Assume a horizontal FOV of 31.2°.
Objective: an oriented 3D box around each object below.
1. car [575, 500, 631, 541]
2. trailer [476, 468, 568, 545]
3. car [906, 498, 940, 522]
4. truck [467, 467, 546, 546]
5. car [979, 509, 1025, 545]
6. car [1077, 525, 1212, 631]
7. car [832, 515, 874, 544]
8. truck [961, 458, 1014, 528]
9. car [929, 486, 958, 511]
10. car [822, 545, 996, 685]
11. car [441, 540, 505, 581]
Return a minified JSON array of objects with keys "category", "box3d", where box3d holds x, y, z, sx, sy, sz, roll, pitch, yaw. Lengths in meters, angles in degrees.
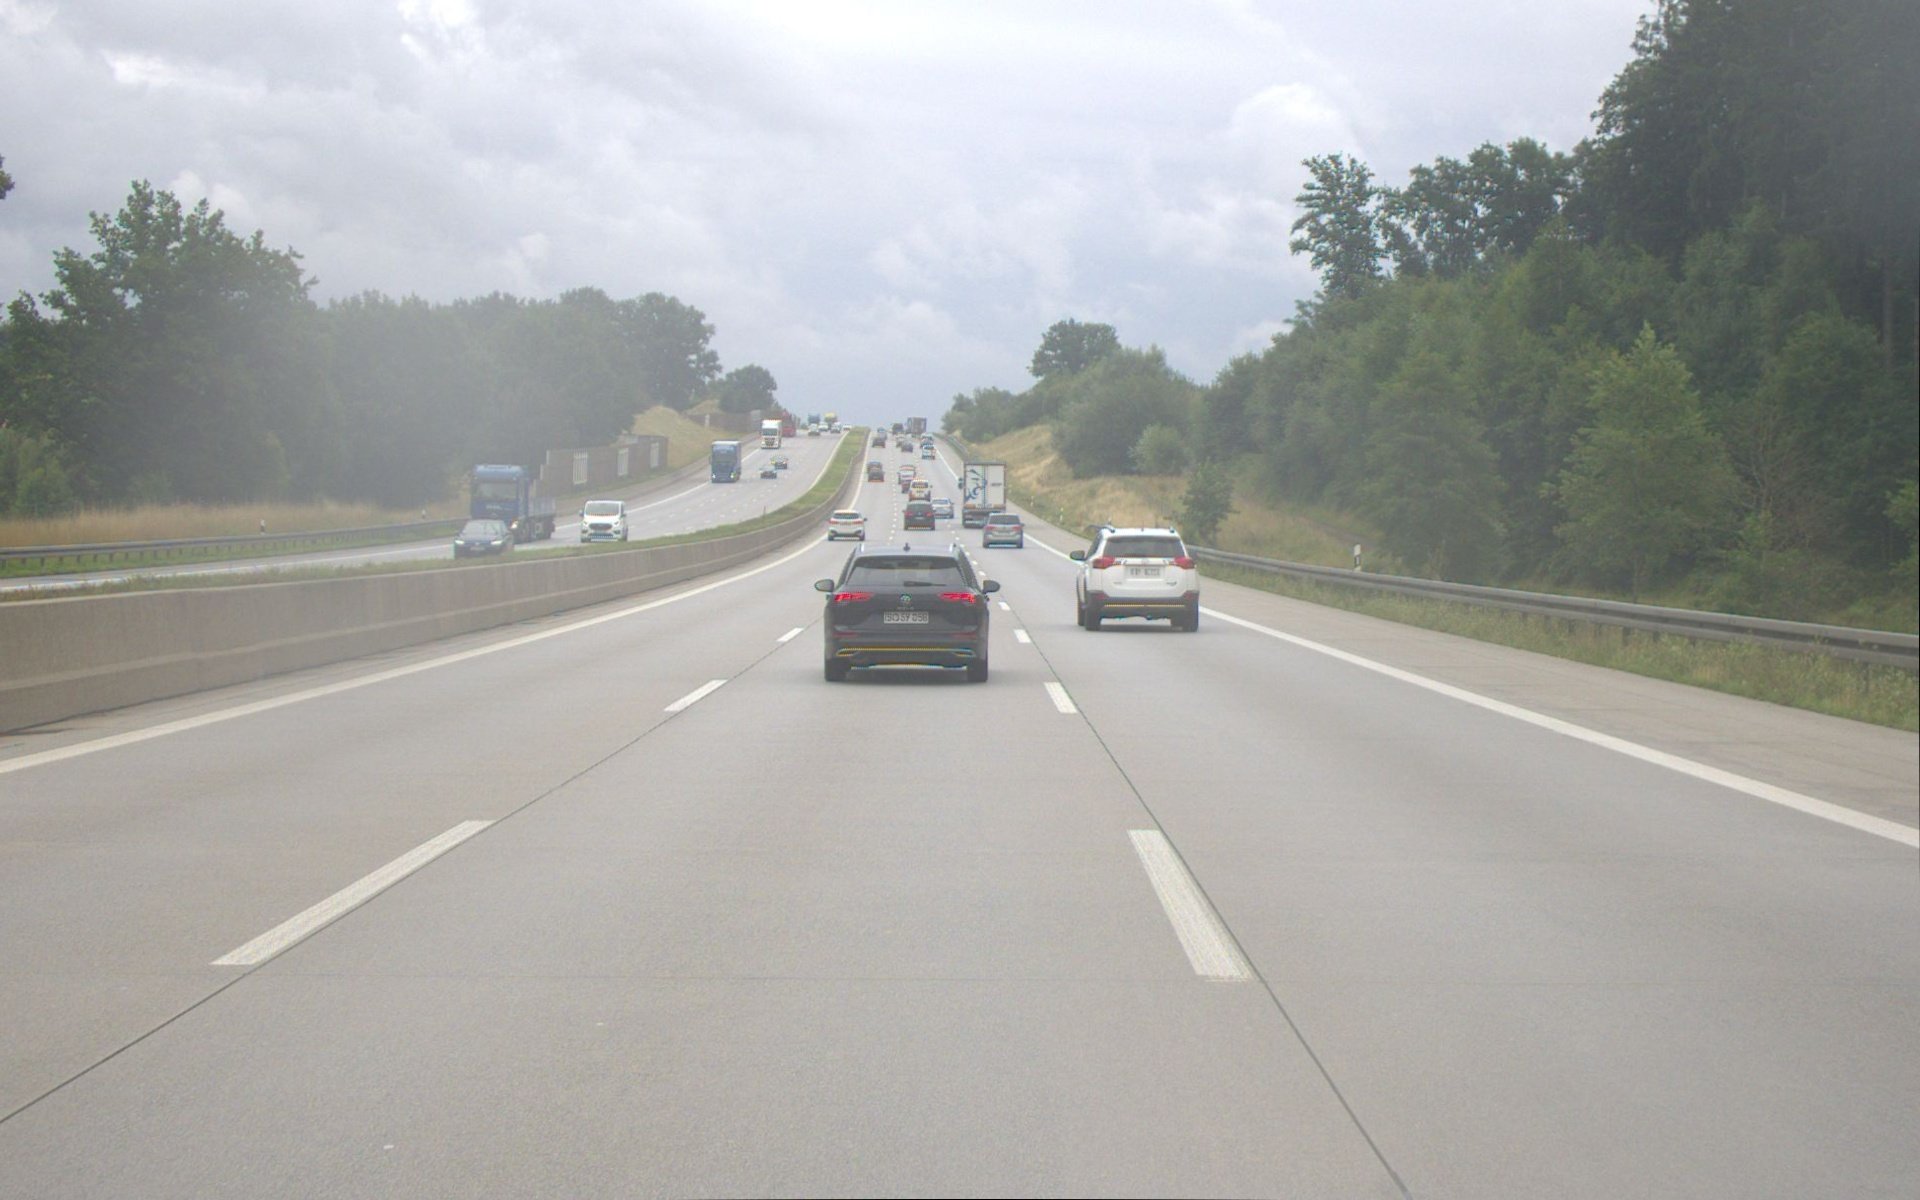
[{"category":"car","box3d":[-16.879,-3.742,162.918,2.088,1.795,5.498,3,1,-1]},{"category":"trailer","box3d":[-21.028,-4.476,165.809,2.785,3.495,13.886,1,1,-1]},{"category":"car","box3d":[-2.202,-5.411,205.935,1.935,1.370,4.595,1,2,0]},{"category":"truck","box3d":[-20.933,-4.300,158.983,2.756,3.504,6.641,1,1,-1]},{"category":"car","box3d":[1.924,-3.359,158.693,1.993,1.525,4.000,3,1,-1]},{"category":"car","box3d":[2.954,-0.381,55.702,1.825,1.650,3.985,0,1,-2]},{"category":"car","box3d":[-5.396,-3.545,173.912,1.947,1.351,4.259,0,0,0]},{"category":"truck","box3d":[1.659,-6.677,213.253,3.017,4.165,8.355,1,3,-1]},{"category":"car","box3d":[-1.159,-7.180,242.808,1.993,1.634,4.001,1,3,1]},{"category":"car","box3d":[-0.500,0.133,37.235,1.752,1.393,4.484,1,1,0]},{"category":"car","box3d":[-17.375,-1.425,122.814,1.847,1.372,4.438,1,1,-3]}]
